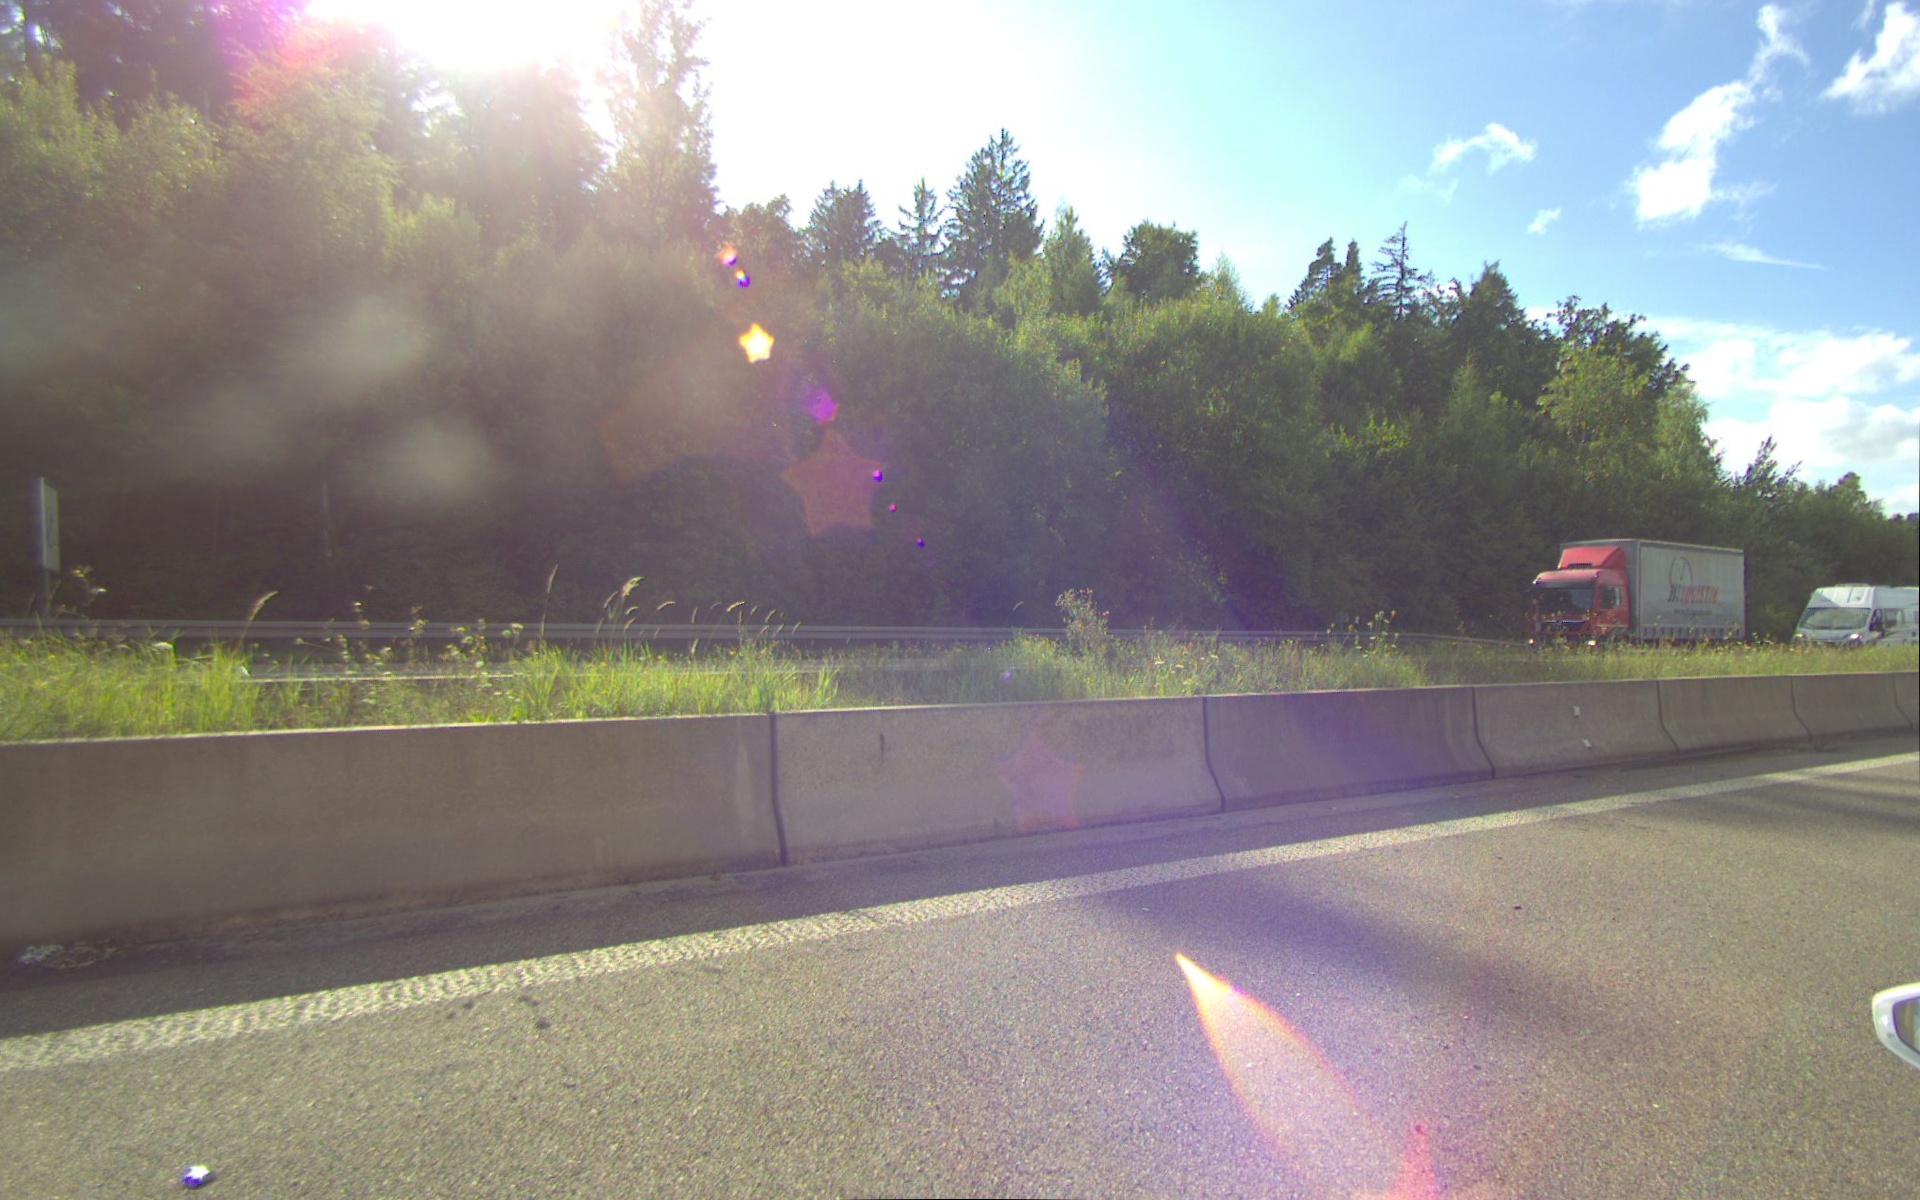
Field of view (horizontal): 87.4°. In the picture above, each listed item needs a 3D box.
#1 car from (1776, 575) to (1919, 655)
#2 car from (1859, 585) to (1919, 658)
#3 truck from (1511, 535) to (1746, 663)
[{"bbox_3d":[30.787,0.568,34.553,6.258,2.484,2.149,3,0,-31],"label":"car"},{"bbox_3d":[47.496,1.110,49.631,7.368,3.415,2.474,2,0,-31],"label":"car"},{"bbox_3d":[23.777,0.061,35.481,10.067,4.045,2.787,1,0,-31],"label":"truck"}]
